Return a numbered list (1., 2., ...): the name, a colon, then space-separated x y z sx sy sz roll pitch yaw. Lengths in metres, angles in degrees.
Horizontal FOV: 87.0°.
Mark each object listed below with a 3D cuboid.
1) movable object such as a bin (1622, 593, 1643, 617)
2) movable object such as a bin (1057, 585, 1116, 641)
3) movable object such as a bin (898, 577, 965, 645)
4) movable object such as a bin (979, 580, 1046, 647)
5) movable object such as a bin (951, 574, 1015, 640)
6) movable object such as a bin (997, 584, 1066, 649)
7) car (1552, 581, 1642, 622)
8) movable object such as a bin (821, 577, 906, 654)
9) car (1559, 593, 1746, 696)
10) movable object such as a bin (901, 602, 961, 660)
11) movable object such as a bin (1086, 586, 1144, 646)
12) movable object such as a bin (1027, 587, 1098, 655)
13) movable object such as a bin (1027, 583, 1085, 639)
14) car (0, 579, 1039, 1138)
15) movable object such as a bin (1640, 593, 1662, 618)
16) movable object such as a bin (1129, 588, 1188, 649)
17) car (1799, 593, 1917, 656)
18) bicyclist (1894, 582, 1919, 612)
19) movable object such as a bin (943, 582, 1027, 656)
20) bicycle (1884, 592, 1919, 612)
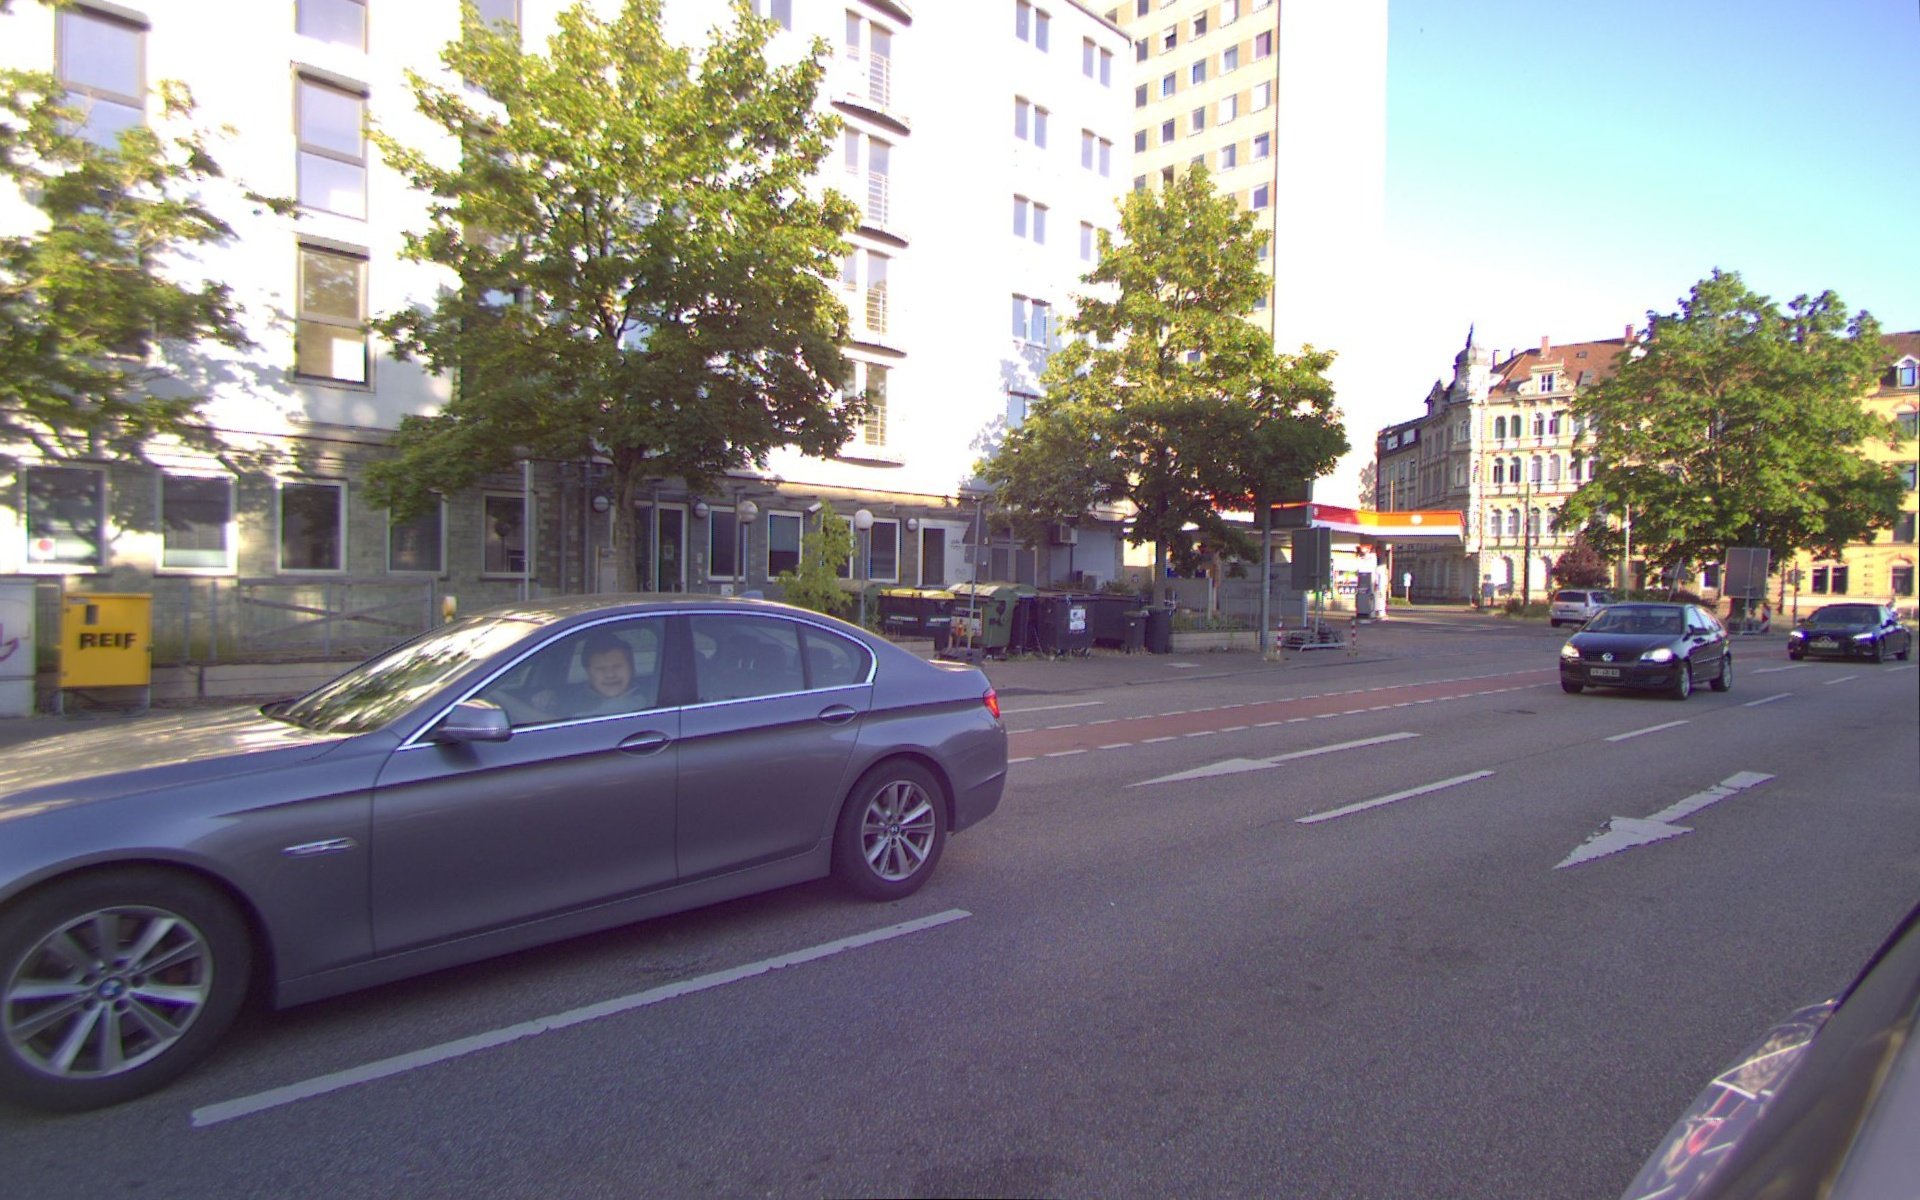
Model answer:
1. movable object such as a bin: 29.106 0.209 43.783 0.675 1.031 0.544 0 1 -36
2. movable object such as a bin: 3.080 0.291 24.619 1.080 1.299 0.954 0 1 -44
3. movable object such as a bin: -0.665 0.237 23.625 1.143 1.517 1.033 0 1 -44
4. movable object such as a bin: 1.201 0.295 23.194 1.143 1.467 1.033 0 1 -44
5. movable object such as a bin: 0.553 0.156 24.186 1.143 1.517 1.033 0 1 -44
6. movable object such as a bin: 1.560 0.340 22.064 1.143 1.345 0.954 0 1 -44
7. car: 25.768 0.027 40.905 3.723 1.535 1.691 -1 2 -34
8. movable object such as a bin: -1.946 0.287 20.404 1.088 1.479 1.348 0 2 -45
9. car: 11.182 0.624 16.250 3.804 1.467 1.583 0 0 -41
10. movable object such as a bin: -0.559 0.575 19.473 0.851 1.058 0.807 2 1 45
11. movable object such as a bin: 3.613 0.345 23.617 0.938 1.345 0.954 0 1 -43
12. movable object such as a bin: 2.130 0.417 21.104 1.143 1.345 0.954 0 1 -44
13. movable object such as a bin: 2.401 0.260 25.348 1.080 1.345 0.954 0 1 -44
14. car: -1.855 0.664 4.538 4.588 1.467 1.817 0 0 -43
15. movable object such as a bin: 29.420 0.224 43.098 0.675 1.031 0.544 0 1 -36
16. movable object such as a bin: 4.540 0.399 23.176 0.938 1.345 0.954 0 1 -43
17. car: 22.907 0.562 25.778 3.974 1.467 1.730 0 0 -41
18. bicyclist: 53.807 -0.161 57.486 1.062 1.669 0.721 2 1 43
19. movable object such as a bin: 0.509 0.363 20.820 1.088 1.441 1.348 0 2 -45
20. bicycle: 53.752 0.111 57.455 1.920 1.072 0.444 2 1 43
